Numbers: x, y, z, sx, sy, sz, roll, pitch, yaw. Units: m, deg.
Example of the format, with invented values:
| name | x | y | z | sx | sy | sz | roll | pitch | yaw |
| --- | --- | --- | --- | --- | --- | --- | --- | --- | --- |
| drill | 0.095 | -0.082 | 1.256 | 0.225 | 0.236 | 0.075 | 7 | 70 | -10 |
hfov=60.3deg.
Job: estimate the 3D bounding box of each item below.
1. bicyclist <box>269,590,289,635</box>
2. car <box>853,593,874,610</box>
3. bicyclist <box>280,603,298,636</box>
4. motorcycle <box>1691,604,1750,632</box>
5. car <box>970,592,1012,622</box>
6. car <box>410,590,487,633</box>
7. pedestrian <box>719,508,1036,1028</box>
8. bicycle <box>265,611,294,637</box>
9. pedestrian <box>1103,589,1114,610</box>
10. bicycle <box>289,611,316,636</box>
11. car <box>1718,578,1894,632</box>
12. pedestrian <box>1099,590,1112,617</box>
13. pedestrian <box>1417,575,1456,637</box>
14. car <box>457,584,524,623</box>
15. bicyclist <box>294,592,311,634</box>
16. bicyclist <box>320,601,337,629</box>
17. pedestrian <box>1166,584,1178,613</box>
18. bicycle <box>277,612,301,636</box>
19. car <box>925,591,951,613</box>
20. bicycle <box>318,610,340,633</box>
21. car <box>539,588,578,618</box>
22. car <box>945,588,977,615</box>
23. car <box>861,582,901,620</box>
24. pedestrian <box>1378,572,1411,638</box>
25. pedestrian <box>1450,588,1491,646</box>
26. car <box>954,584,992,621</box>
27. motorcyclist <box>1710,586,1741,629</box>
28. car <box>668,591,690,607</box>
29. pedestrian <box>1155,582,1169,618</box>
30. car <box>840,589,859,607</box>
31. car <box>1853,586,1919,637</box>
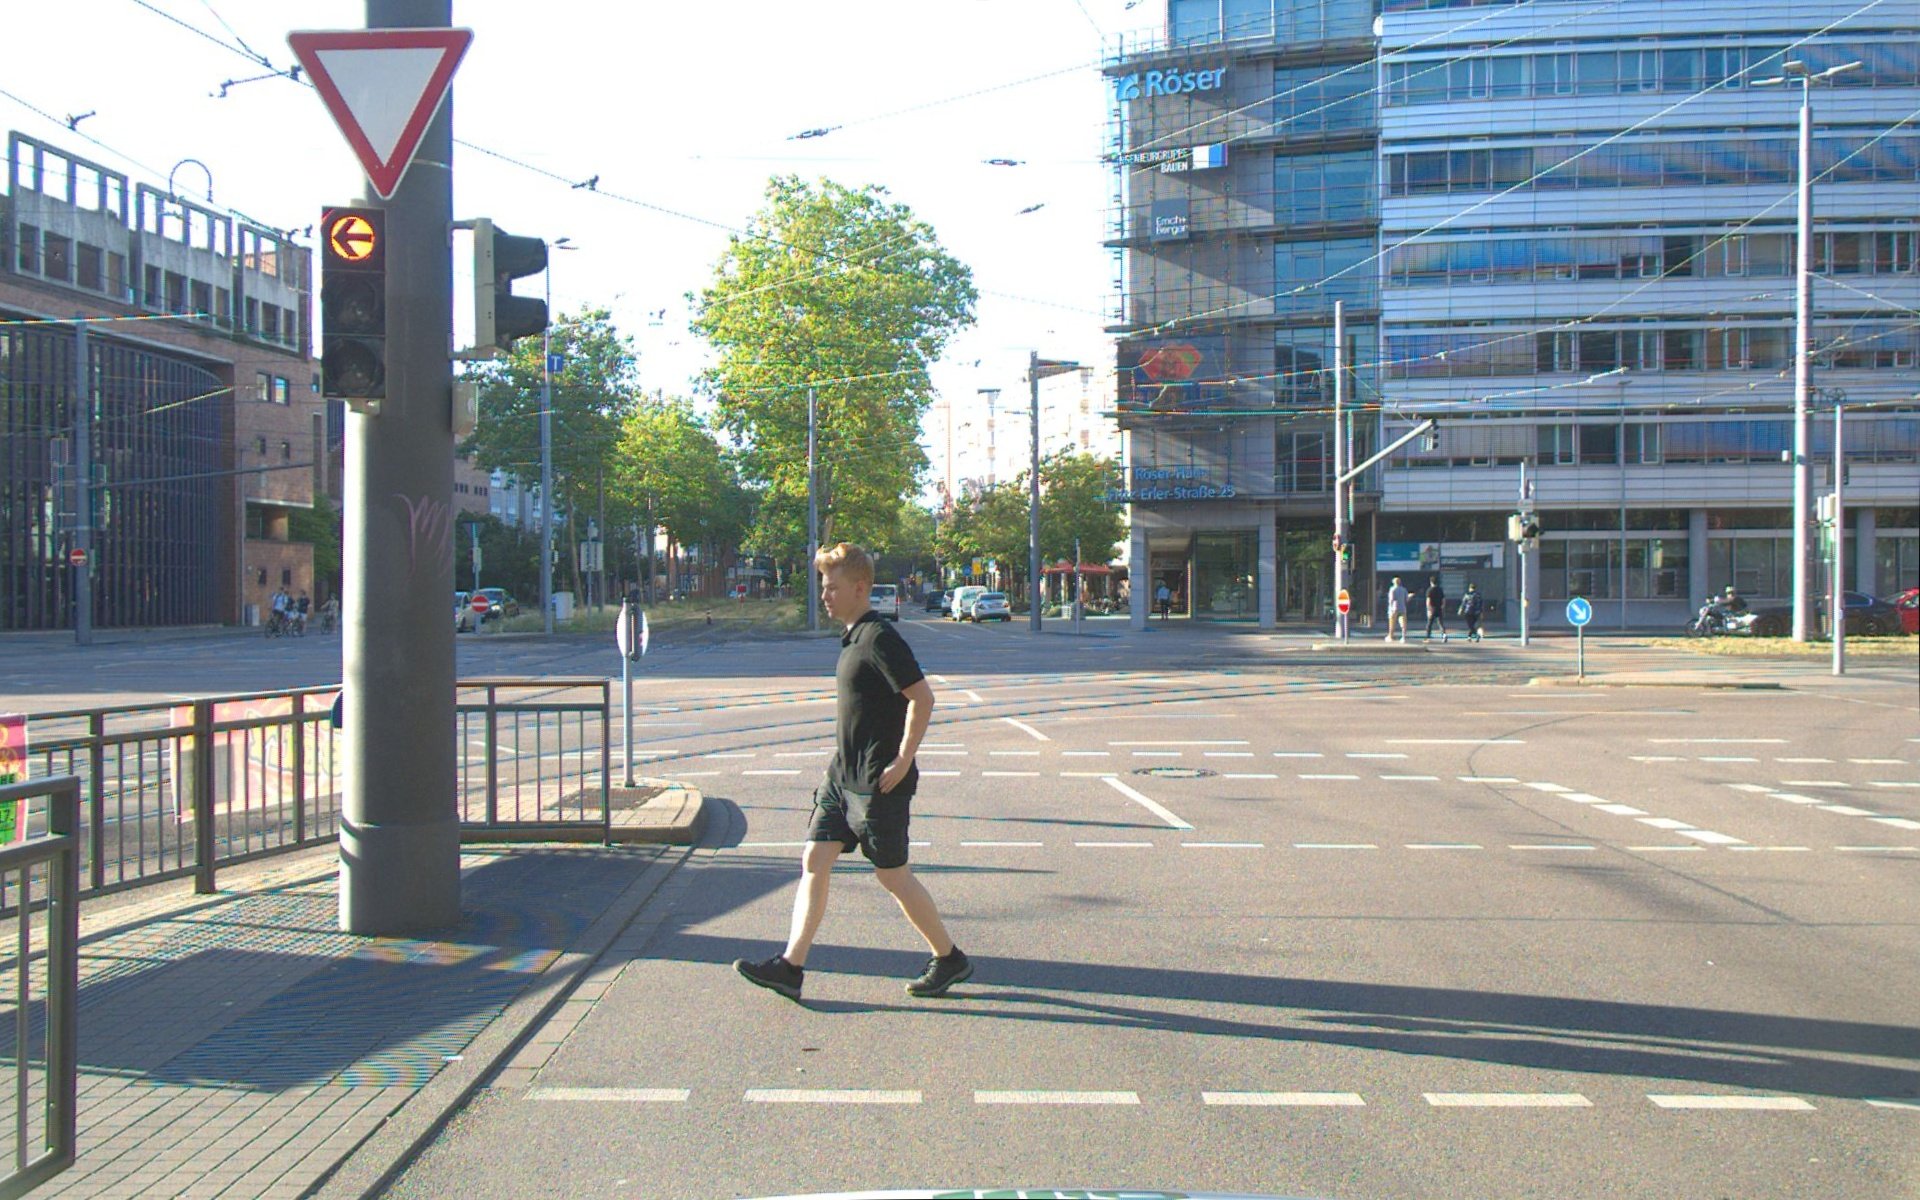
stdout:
| name | x | y | z | sx | sy | sz | roll | pitch | yaw |
| --- | --- | --- | --- | --- | --- | --- | --- | --- | --- |
| bicyclist | -26.819 | 0.475 | 65.151 | 0.525 | 1.761 | 0.581 | -1 | 0 | -1 |
| car | -8.580 | 0.177 | 146.738 | 1.762 | 1.467 | 3.998 | 1 | 0 | -3 |
| bicyclist | -27.668 | 0.794 | 68.219 | 0.495 | 1.327 | 0.581 | -1 | 0 | -1 |
| motorcycle | 22.901 | 0.535 | 49.813 | 1.535 | 0.824 | 0.467 | -1 | 0 | 3 |
| car | 1.531 | 0.338 | 82.781 | 1.953 | 1.400 | 3.999 | -1 | 0 | -1 |
| car | -20.672 | 0.447 | 67.028 | 1.953 | 1.668 | 3.999 | -1 | 0 | -2 |
| pedestrian | -0.329 | 0.576 | 6.136 | 1.070 | 1.779 | 0.741 | 0 | 0 | -12 |
| bicycle | -26.834 | 0.933 | 65.230 | 0.531 | 0.980 | 1.586 | -1 | 0 | -1 |
| pedestrian | 9.559 | -0.030 | 106.642 | 0.565 | 1.311 | 0.910 | -1 | 0 | -1 |
| bicycle | -25.937 | 0.920 | 65.278 | 0.463 | 0.980 | 1.575 | -1 | 0 | -1 |
| car | 24.007 | 0.134 | 47.058 | 4.070 | 1.423 | 1.786 | -1 | 0 | 4 |
| pedestrian | 9.243 | 0.221 | 105.089 | 0.729 | 1.744 | 0.612 | -1 | 0 | -1 |
| pedestrian | 13.549 | 0.163 | 47.031 | 0.893 | 1.714 | 1.036 | -1 | 0 | 6 |
| car | -21.126 | 0.147 | 74.586 | 1.953 | 1.668 | 3.999 | -1 | 0 | -2 |
| bicyclist | -25.957 | 0.510 | 65.282 | 0.449 | 1.631 | 0.581 | -1 | 0 | -1 |
| bicyclist | -27.096 | 0.642 | 71.013 | 0.495 | 1.199 | 0.581 | -1 | 0 | -1 |
| pedestrian | 11.556 | -0.082 | 90.126 | 0.599 | 1.534 | 0.579 | -1 | 0 | 7 |
| bicycle | -27.658 | 0.979 | 68.185 | 0.458 | 0.980 | 1.320 | -1 | 0 | -1 |
| car | -1.685 | 0.132 | 126.626 | 1.953 | 1.646 | 3.999 | -1 | 0 | -1 |
| bicycle | -27.089 | 0.916 | 71.050 | 0.442 | 0.980 | 1.347 | -1 | 0 | -1 |
| car | -28.489 | 0.186 | 117.454 | 1.954 | 2.049 | 3.997 | -1 | 0 | -3 |
| car | 0.031 | 0.072 | 105.203 | 1.953 | 1.646 | 3.999 | -1 | 0 | -1 |
| car | -4.045 | 0.024 | 85.364 | 1.921 | 1.881 | 5.328 | -1 | 0 | -2 |
| pedestrian | 12.153 | 0.150 | 46.265 | 0.845 | 1.820 | 0.872 | -1 | 0 | 12 |
| pedestrian | 14.156 | 0.469 | 45.876 | 0.928 | 1.591 | 0.897 | -1 | 0 | 6 |
| car | 0.682 | 0.118 | 89.567 | 1.953 | 1.892 | 3.999 | -1 | 0 | -1 |
| motorcyclist | 23.058 | 0.224 | 49.818 | 0.697 | 1.298 | 0.460 | -1 | 0 | 3 |
| car | -33.240 | -0.112 | 195.779 | 1.953 | 1.847 | 3.999 | -1 | 0 | -1 |
| pedestrian | 8.661 | 0.009 | 70.931 | 0.599 | 1.534 | 0.579 | -1 | 0 | 7 |
| car | -12.471 | -0.244 | 186.949 | 1.953 | 2.049 | 3.999 | -1 | 0 | -1 |
| car | 29.238 | 0.299 | 49.612 | 3.903 | 1.418 | 1.786 | -2 | 0 | 4 |
